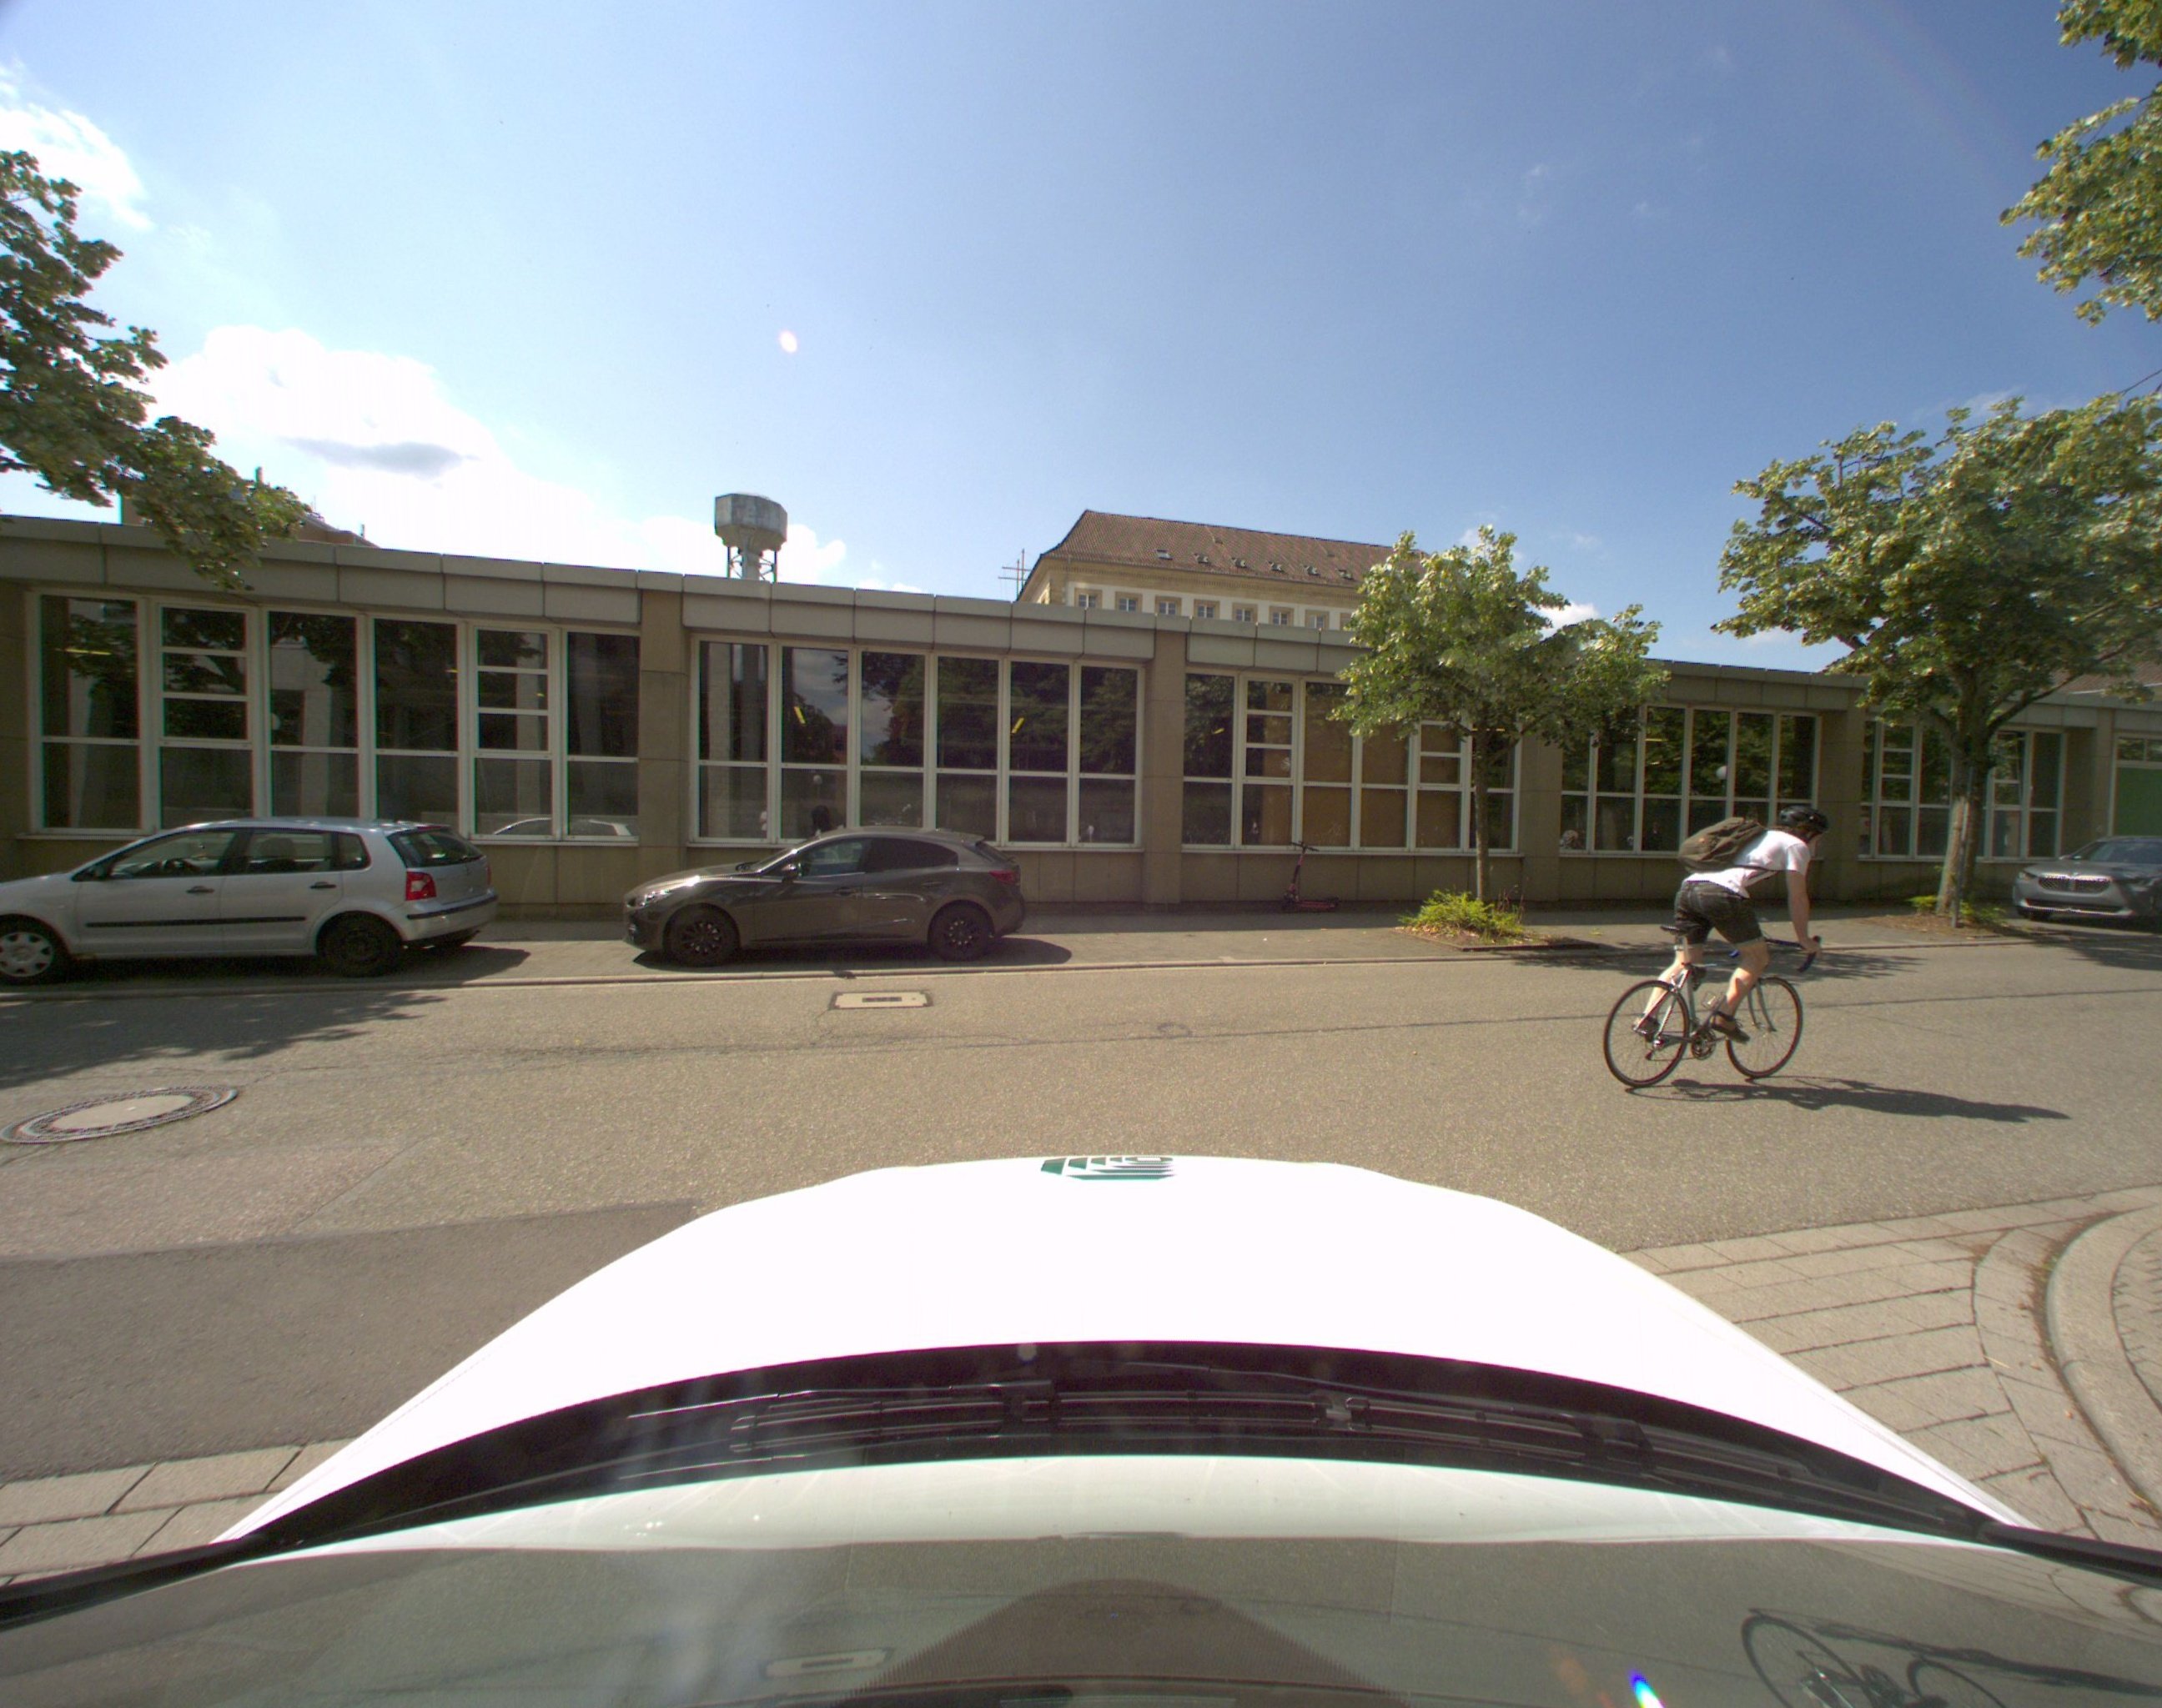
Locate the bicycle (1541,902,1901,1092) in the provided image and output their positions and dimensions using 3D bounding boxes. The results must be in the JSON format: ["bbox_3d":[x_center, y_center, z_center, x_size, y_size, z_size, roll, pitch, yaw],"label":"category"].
[{"bbox_3d":[4.033,0.851,5.181,1.906,0.992,0.706,1,4,-12],"label":"bicycle"}]

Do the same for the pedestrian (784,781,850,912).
[{"bbox_3d":[-3.586,-0.101,11.111,0.796,1.728,0.599,0,2,-14],"label":"pedestrian"}]

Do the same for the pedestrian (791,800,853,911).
[{"bbox_3d":[-3.734,0.013,11.771,0.796,1.541,0.661,0,2,-14],"label":"pedestrian"}]

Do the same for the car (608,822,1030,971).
[{"bbox_3d":[-2.855,0.387,9.538,4.281,1.434,1.723,0,4,-14],"label":"car"}]

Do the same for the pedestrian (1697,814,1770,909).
[{"bbox_3d":[12.654,0.122,15.815,0.669,1.786,0.788,0,3,-12],"label":"pedestrian"}]

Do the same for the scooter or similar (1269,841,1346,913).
[{"bbox_3d":[3.942,0.382,14.181,1.244,1.207,0.382,0,4,-15],"label":"scooter or similar"}]

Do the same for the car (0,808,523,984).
[{"bbox_3d":[-8.042,0.338,8.087,3.746,1.448,1.628,0,5,-14],"label":"car"}]

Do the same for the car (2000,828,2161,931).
[{"bbox_3d":[19.777,0.425,15.086,4.511,1.631,1.819,1,4,-16],"label":"car"}]

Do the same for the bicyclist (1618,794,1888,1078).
[{"bbox_3d":[4.249,0.469,5.207,1.092,1.661,0.717,1,4,-12],"label":"bicyclist"}]
